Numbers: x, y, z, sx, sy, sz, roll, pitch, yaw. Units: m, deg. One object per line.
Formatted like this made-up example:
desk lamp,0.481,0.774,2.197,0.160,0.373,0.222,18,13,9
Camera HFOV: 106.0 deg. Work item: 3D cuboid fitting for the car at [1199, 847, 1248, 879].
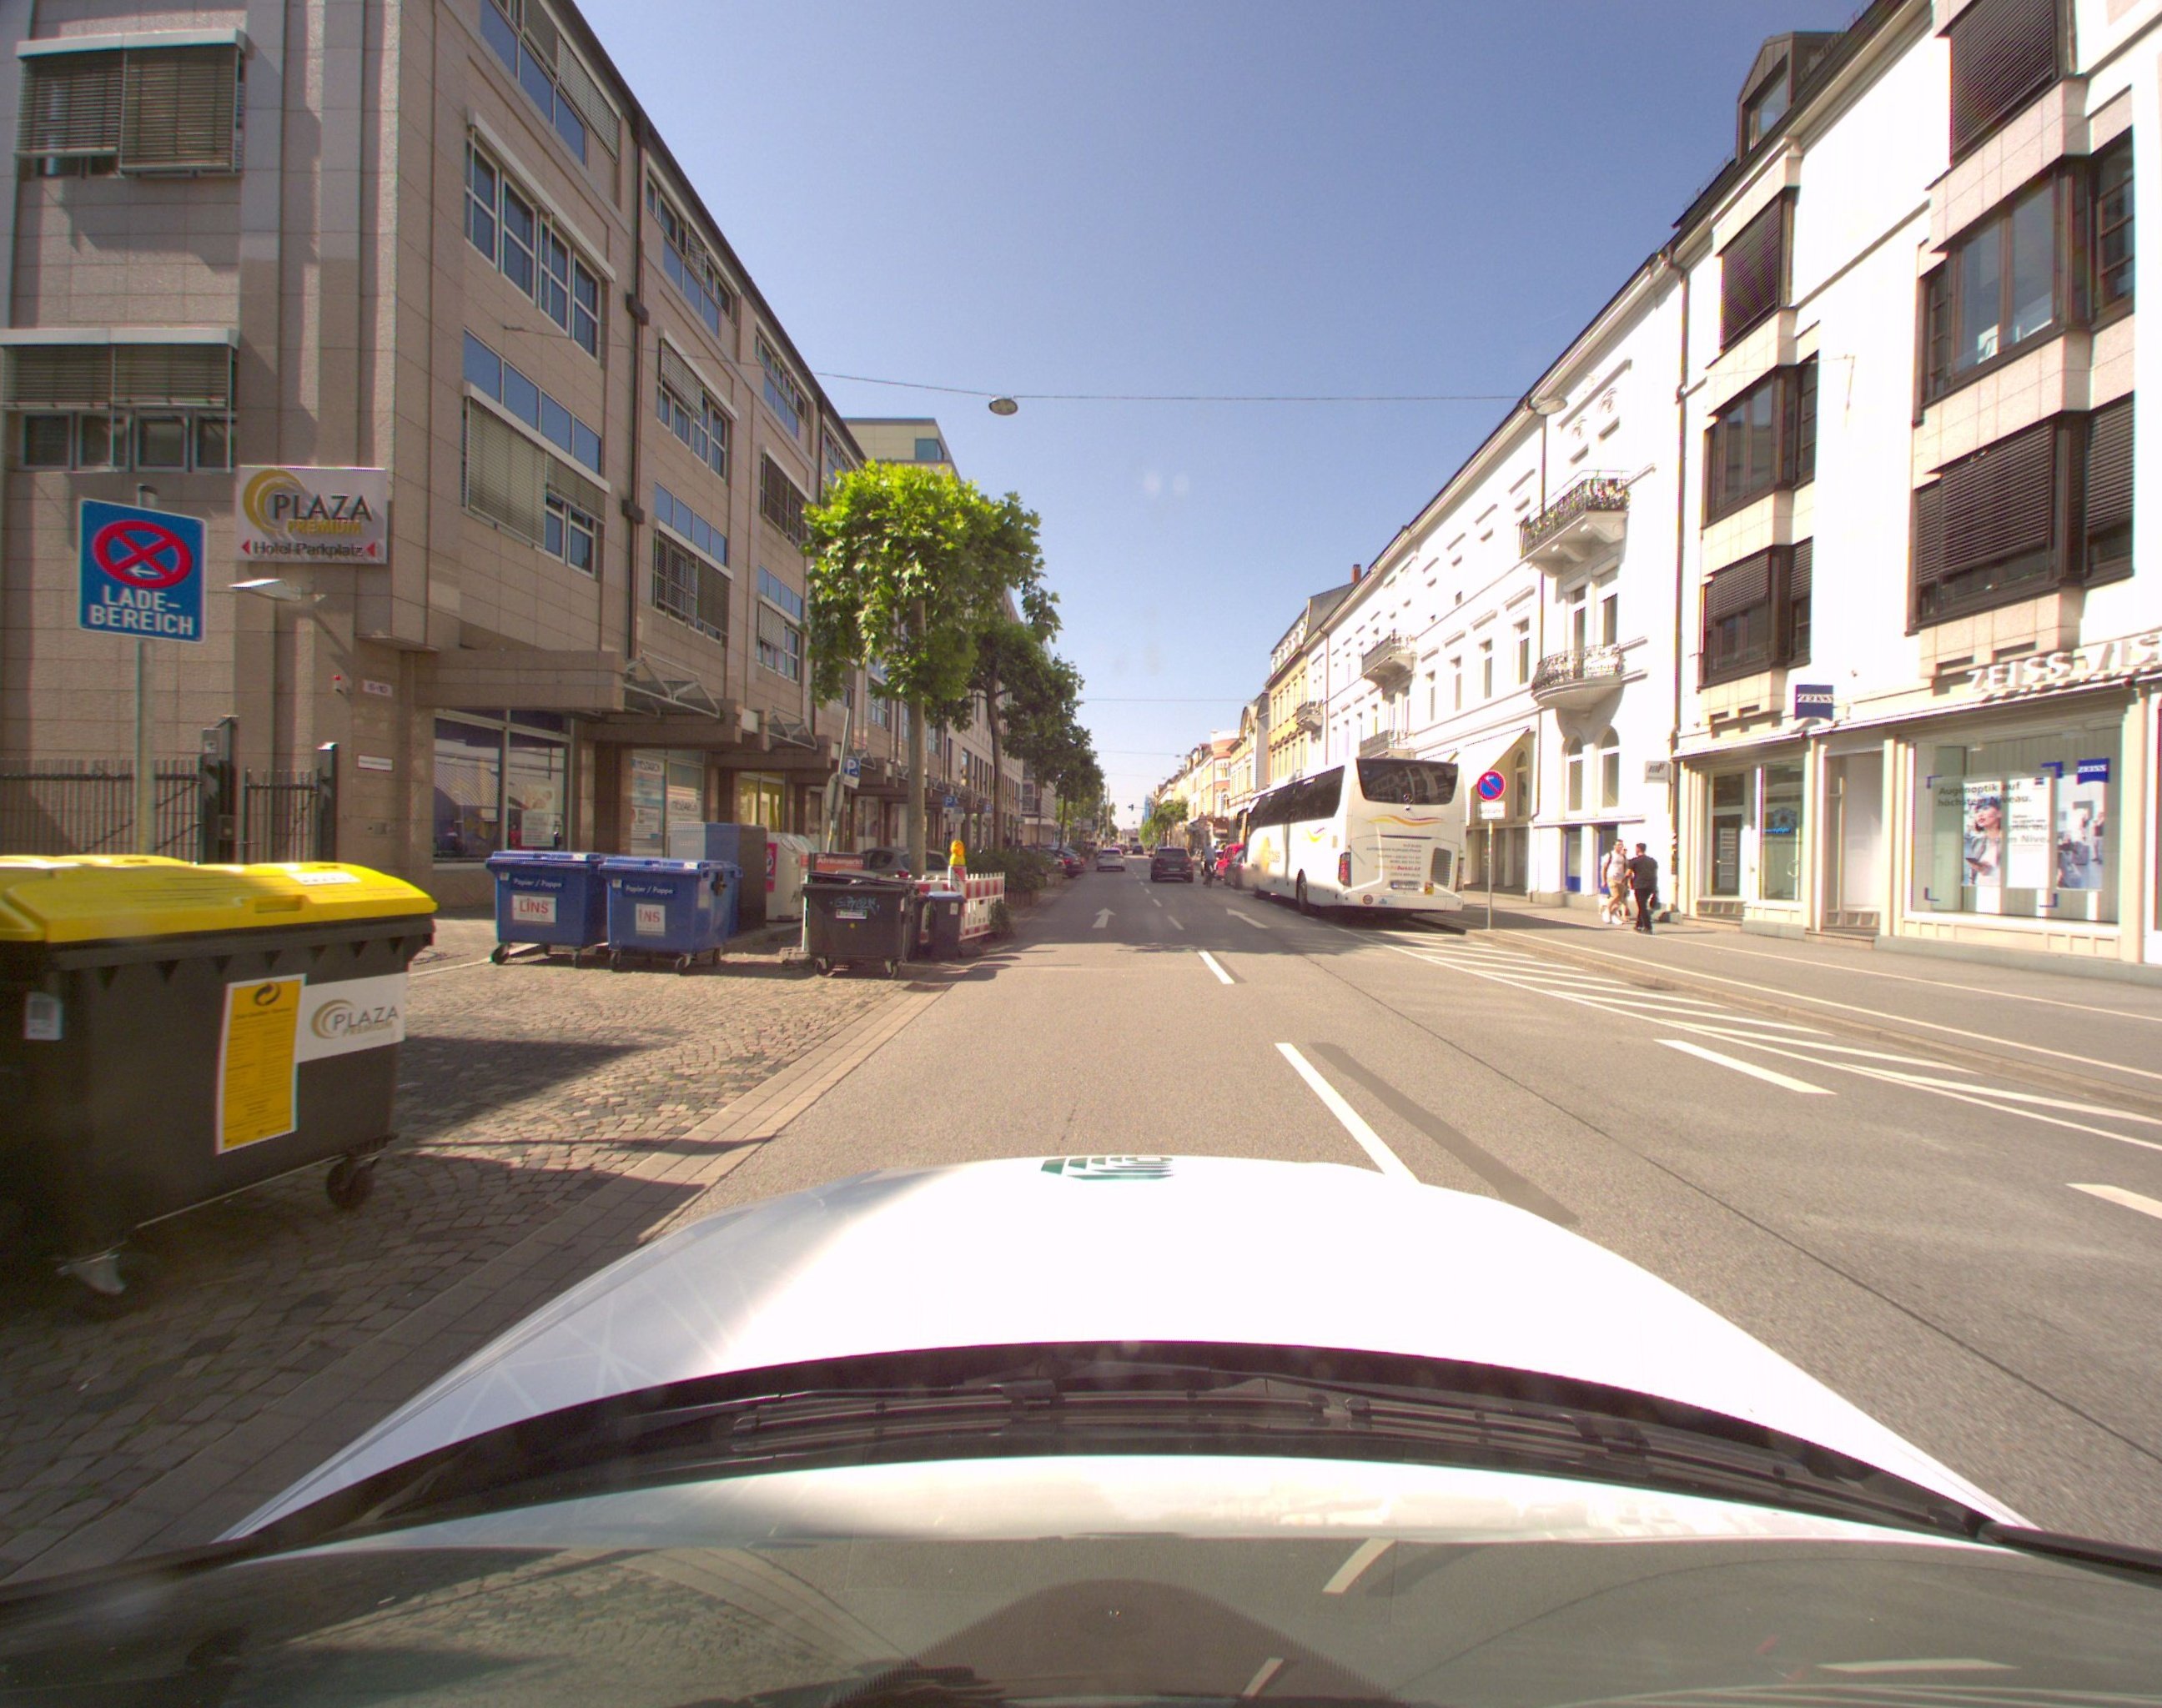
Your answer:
car,7.571,0.432,43.690,1.807,1.466,4.580,2,2,0

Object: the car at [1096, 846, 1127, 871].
car,1.868,0.249,50.829,1.856,1.441,4.000,1,0,1

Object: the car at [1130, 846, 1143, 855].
car,8.235,-0.535,121.820,1.856,1.441,4.002,0,1,2

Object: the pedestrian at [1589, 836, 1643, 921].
pedestrian,11.514,0.514,17.555,0.570,1.778,1.021,0,-1,5

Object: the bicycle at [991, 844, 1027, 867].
bicycle,-4.217,0.087,47.663,2.061,1.288,0.367,3,0,-5

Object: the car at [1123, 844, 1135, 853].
car,8.179,-0.992,139.635,1.856,1.441,4.001,-1,-1,2

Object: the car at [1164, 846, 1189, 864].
car,8.420,0.096,72.044,1.826,1.527,4.002,-1,-1,2

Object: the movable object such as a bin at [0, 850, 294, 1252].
movable object such as a bin,-4.563,0.746,3.386,1.117,1.450,1.442,2,2,8

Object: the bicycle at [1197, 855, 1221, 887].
bicycle,5.011,0.661,31.932,0.662,1.120,2.245,3,1,3

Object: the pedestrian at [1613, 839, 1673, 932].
pedestrian,10.760,0.590,15.617,0.617,1.720,0.836,0,-1,5

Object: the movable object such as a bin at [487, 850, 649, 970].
movable object such as a bin,-6.203,0.643,9.934,1.204,1.299,1.128,2,1,2

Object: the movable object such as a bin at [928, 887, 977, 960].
movable object such as a bin,-1.810,0.965,11.447,0.556,0.939,0.497,-2,1,-24

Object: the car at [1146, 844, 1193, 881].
car,3.874,0.363,36.328,1.826,1.527,4.003,1,0,3

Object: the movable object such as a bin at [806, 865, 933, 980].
movable object such as a bin,-2.549,0.802,9.938,1.272,1.299,0.854,1,0,2

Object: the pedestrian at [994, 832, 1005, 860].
pedestrian,-4.783,-0.480,47.872,0.564,1.657,0.636,0,1,-2

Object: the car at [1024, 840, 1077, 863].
car,-2.323,-0.201,62.546,3.976,1.500,1.716,5,1,-2

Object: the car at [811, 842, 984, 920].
car,-4.281,0.524,18.658,4.008,1.494,1.947,3,2,43

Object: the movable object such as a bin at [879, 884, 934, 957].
movable object such as a bin,-2.398,0.902,11.219,0.495,0.939,0.558,-1,1,19

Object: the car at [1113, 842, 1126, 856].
car,5.781,-0.716,122.050,1.856,2.030,4.001,1,-1,2

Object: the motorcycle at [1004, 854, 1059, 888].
motorcycle,-1.851,0.620,30.317,1.893,1.170,0.764,2,1,23

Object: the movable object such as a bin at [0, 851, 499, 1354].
movable object such as a bin,-3.449,0.751,3.240,1.117,1.450,1.442,2,2,8

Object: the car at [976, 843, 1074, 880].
car,-2.684,0.312,38.206,4.699,1.533,2.002,2,1,45

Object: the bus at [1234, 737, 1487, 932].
bus,6.681,-0.455,22.310,2.871,3.741,12.431,2,1,2

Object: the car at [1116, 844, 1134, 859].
car,4.490,-0.292,83.726,1.736,1.441,4.002,0,1,2

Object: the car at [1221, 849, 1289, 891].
car,6.889,0.566,32.703,1.851,1.469,5.230,2,1,3

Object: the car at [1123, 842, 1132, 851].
car,9.900,-1.593,174.374,1.856,1.849,4.001,-1,-1,2

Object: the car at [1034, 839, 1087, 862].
car,-1.736,-0.304,68.926,3.951,1.568,1.710,6,1,27

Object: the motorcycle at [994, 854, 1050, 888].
motorcycle,-2.144,0.606,29.620,1.893,1.170,0.732,2,1,23

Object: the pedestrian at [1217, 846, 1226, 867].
pedestrian,12.208,0.210,70.763,0.648,1.809,0.731,1,0,6

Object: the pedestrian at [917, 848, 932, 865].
pedestrian,-8.216,0.127,42.743,0.563,0.809,0.775,5,1,2

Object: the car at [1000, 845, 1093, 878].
car,-1.790,0.335,41.157,4.737,1.422,1.894,3,2,42

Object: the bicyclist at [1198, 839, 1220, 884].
bicyclist,4.998,0.282,31.955,0.691,1.673,0.917,3,2,3

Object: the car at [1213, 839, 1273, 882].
car,7.530,0.243,38.224,1.822,1.863,4.353,2,1,-1

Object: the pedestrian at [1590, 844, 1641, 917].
pedestrian,12.105,0.584,18.470,0.642,1.617,0.823,0,-1,5

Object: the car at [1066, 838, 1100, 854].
car,0.239,-1.135,116.110,4.666,2.003,1.953,5,0,43

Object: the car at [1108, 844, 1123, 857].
car,3.997,-0.440,94.401,1.736,1.441,4.002,0,1,2

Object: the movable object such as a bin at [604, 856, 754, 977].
movable object such as a bin,-4.815,0.716,9.845,1.204,1.299,1.081,2,2,2

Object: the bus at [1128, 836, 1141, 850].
bus,13.998,-2.911,212.128,2.761,3.605,8.972,0,1,0

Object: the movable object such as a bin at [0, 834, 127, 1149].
movable object such as a bin,-5.692,0.643,3.662,1.202,1.450,1.367,2,2,8

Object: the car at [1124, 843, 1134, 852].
car,9.289,-1.258,158.697,1.856,1.441,4.001,-1,-1,2
